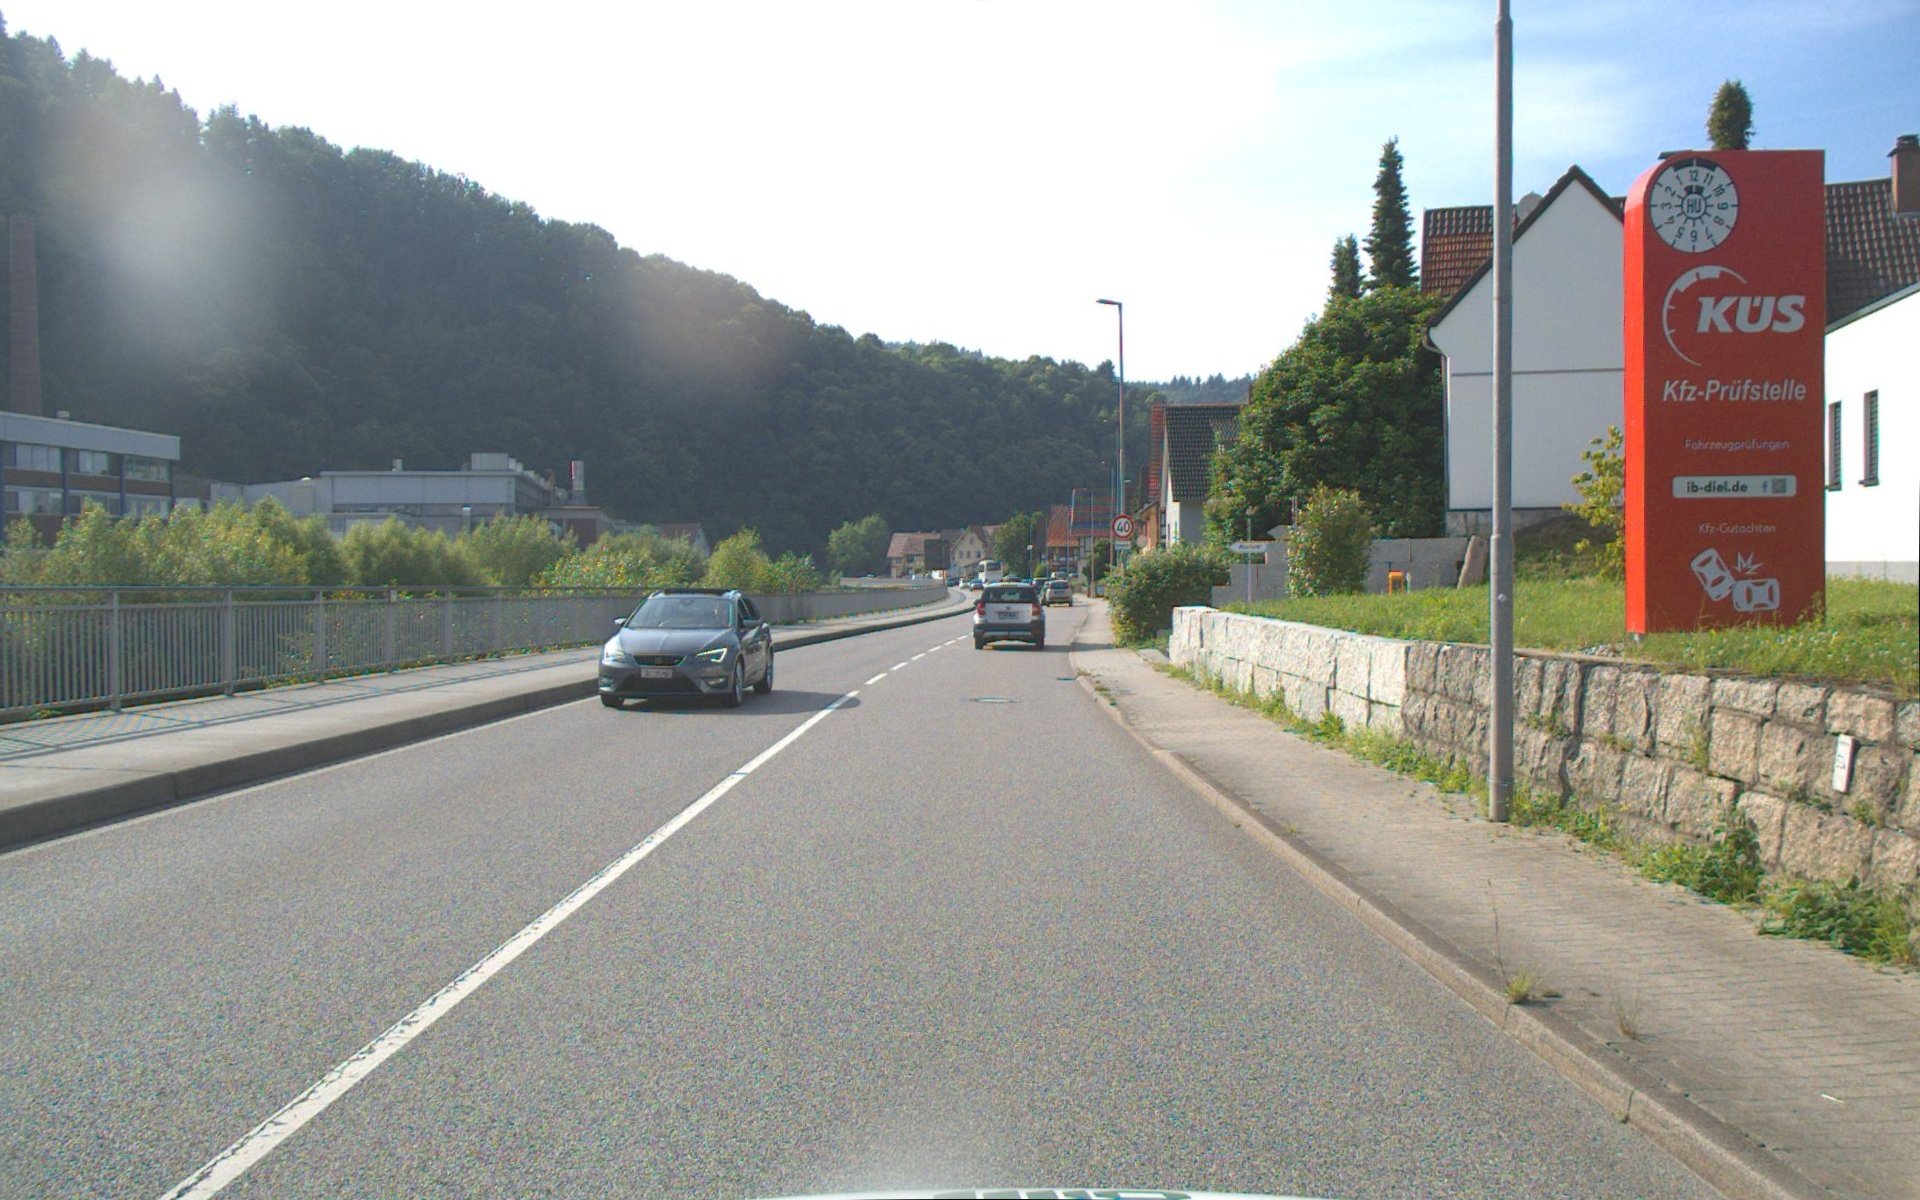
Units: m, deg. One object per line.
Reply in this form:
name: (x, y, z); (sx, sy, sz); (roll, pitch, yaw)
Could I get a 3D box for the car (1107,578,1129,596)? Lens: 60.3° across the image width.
car: (11.366, -0.906, 118.773); (1.511, 1.238, 3.280); (0, 0, 7)

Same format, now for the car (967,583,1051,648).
car: (1.306, 0.371, 42.402); (1.821, 1.571, 4.376); (0, 0, 6)

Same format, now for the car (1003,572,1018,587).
car: (5.958, -2.405, 194.120); (1.639, 1.783, 3.450); (0, 2, 4)

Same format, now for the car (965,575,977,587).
car: (1.297, -2.341, 201.576); (1.404, 1.407, 3.135); (0, 2, -1)

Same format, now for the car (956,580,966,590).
car: (0.087, -2.061, 231.731); (1.336, 1.300, 3.083); (0, 0, 1)

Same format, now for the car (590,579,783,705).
car: (-3.536, 0.518, 22.257); (1.776, 1.510, 4.798); (0, 0, 0)

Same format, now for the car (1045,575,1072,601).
car: (6.052, -0.735, 101.464); (1.588, 1.568, 3.279); (0, 0, 3)

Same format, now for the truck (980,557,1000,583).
truck: (4.043, -4.150, 224.961); (2.672, 3.433, 6.480); (0, 2, 1)
